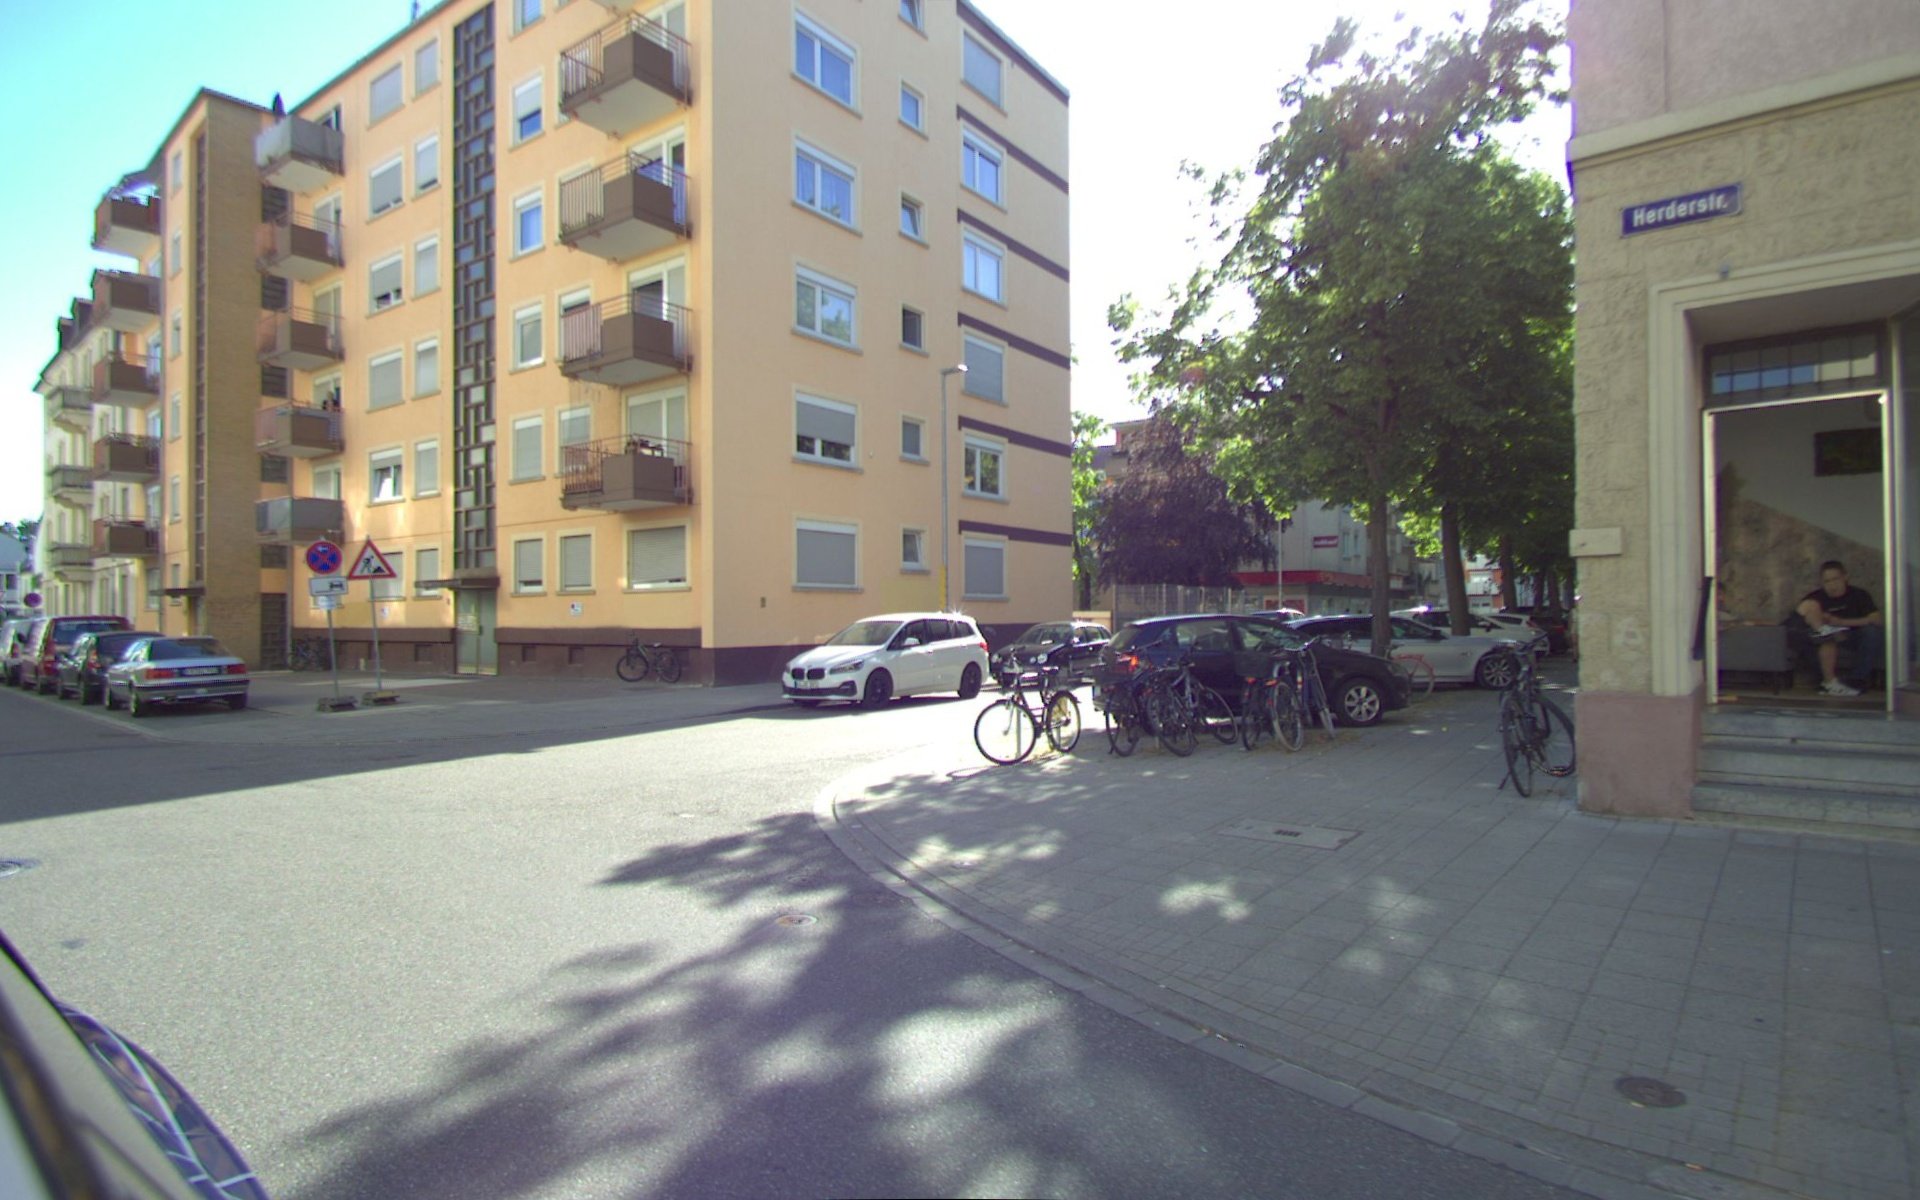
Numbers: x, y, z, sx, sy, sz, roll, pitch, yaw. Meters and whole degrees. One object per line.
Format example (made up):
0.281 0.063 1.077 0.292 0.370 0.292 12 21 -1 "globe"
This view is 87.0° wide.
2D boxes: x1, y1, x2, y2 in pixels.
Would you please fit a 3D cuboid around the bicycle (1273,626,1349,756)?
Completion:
3.641 0.896 10.437 0.434 1.223 1.486 -2 -2 31 "bicycle"

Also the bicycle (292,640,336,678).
-19.846 1.801 31.079 1.802 1.116 0.488 -2 -2 36 "bicycle"

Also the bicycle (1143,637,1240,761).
2.460 0.983 10.623 0.434 1.156 1.841 -2 -2 31 "bicycle"

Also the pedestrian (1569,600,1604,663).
17.141 0.855 27.704 0.764 1.696 0.610 -2 -2 33 "pedestrian"

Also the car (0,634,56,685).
-31.893 1.984 34.046 3.811 1.611 1.798 -2 -2 42 "car"

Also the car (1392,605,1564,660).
14.932 0.948 29.355 4.084 1.486 1.653 -1 -1 12 "car"

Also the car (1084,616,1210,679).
5.210 1.252 27.755 1.817 1.571 4.403 -2 -2 34 "car"

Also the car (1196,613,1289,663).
9.421 1.224 33.562 1.817 1.571 3.890 -2 -2 34 "car"

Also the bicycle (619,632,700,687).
-6.349 1.244 21.368 1.802 1.116 0.680 -2 -2 36 "bicycle"

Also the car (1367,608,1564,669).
12.606 0.971 25.475 4.084 1.446 1.653 -1 -1 12 "car"

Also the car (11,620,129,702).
-22.765 1.499 25.839 4.110 1.892 1.798 -2 -2 42 "car"

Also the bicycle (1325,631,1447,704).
6.608 1.025 15.757 1.622 1.065 0.622 -2 -2 43 "bicycle"

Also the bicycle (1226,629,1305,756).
3.249 0.930 10.690 0.434 1.223 1.486 -2 -2 31 "bicycle"

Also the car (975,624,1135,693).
2.312 1.292 23.501 1.817 1.390 4.403 -2 -2 34 "car"

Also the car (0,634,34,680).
-35.332 2.070 36.998 3.811 1.611 1.798 -2 -2 42 "car"

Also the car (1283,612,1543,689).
8.243 0.928 18.786 4.084 1.332 1.653 -1 -1 12 "car"

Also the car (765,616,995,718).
-1.286 1.099 18.153 1.776 1.571 4.403 -2 -2 34 "car"

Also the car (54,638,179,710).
-18.485 1.558 22.154 3.285 1.433 1.656 -2 -2 42 "car"

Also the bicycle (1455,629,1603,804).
4.379 0.813 7.724 0.694 1.144 1.787 -2 -2 38 "bicycle"

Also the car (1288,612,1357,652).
15.146 1.303 42.179 1.817 1.571 3.890 -2 -2 34 "car"

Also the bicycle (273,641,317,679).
-20.134 1.805 30.620 1.802 1.116 0.488 -2 -2 36 "bicycle"

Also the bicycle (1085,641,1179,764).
1.839 1.025 10.647 0.433 1.156 1.647 -2 -2 29 "bicycle"

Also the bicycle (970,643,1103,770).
0.826 1.050 10.481 0.592 1.156 1.644 -2 -2 36 "bicycle"

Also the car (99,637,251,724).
-14.697 1.427 18.905 3.499 1.433 1.656 -2 -2 42 "car"

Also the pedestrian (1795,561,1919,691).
7.432 0.205 8.411 0.701 0.998 1.125 -2 -1 39 "pedestrian"

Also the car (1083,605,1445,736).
3.624 0.851 12.629 3.945 1.395 1.708 -2 -2 1 "car"

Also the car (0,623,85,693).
-27.258 1.661 29.771 4.110 1.892 1.798 -2 -2 42 "car"
